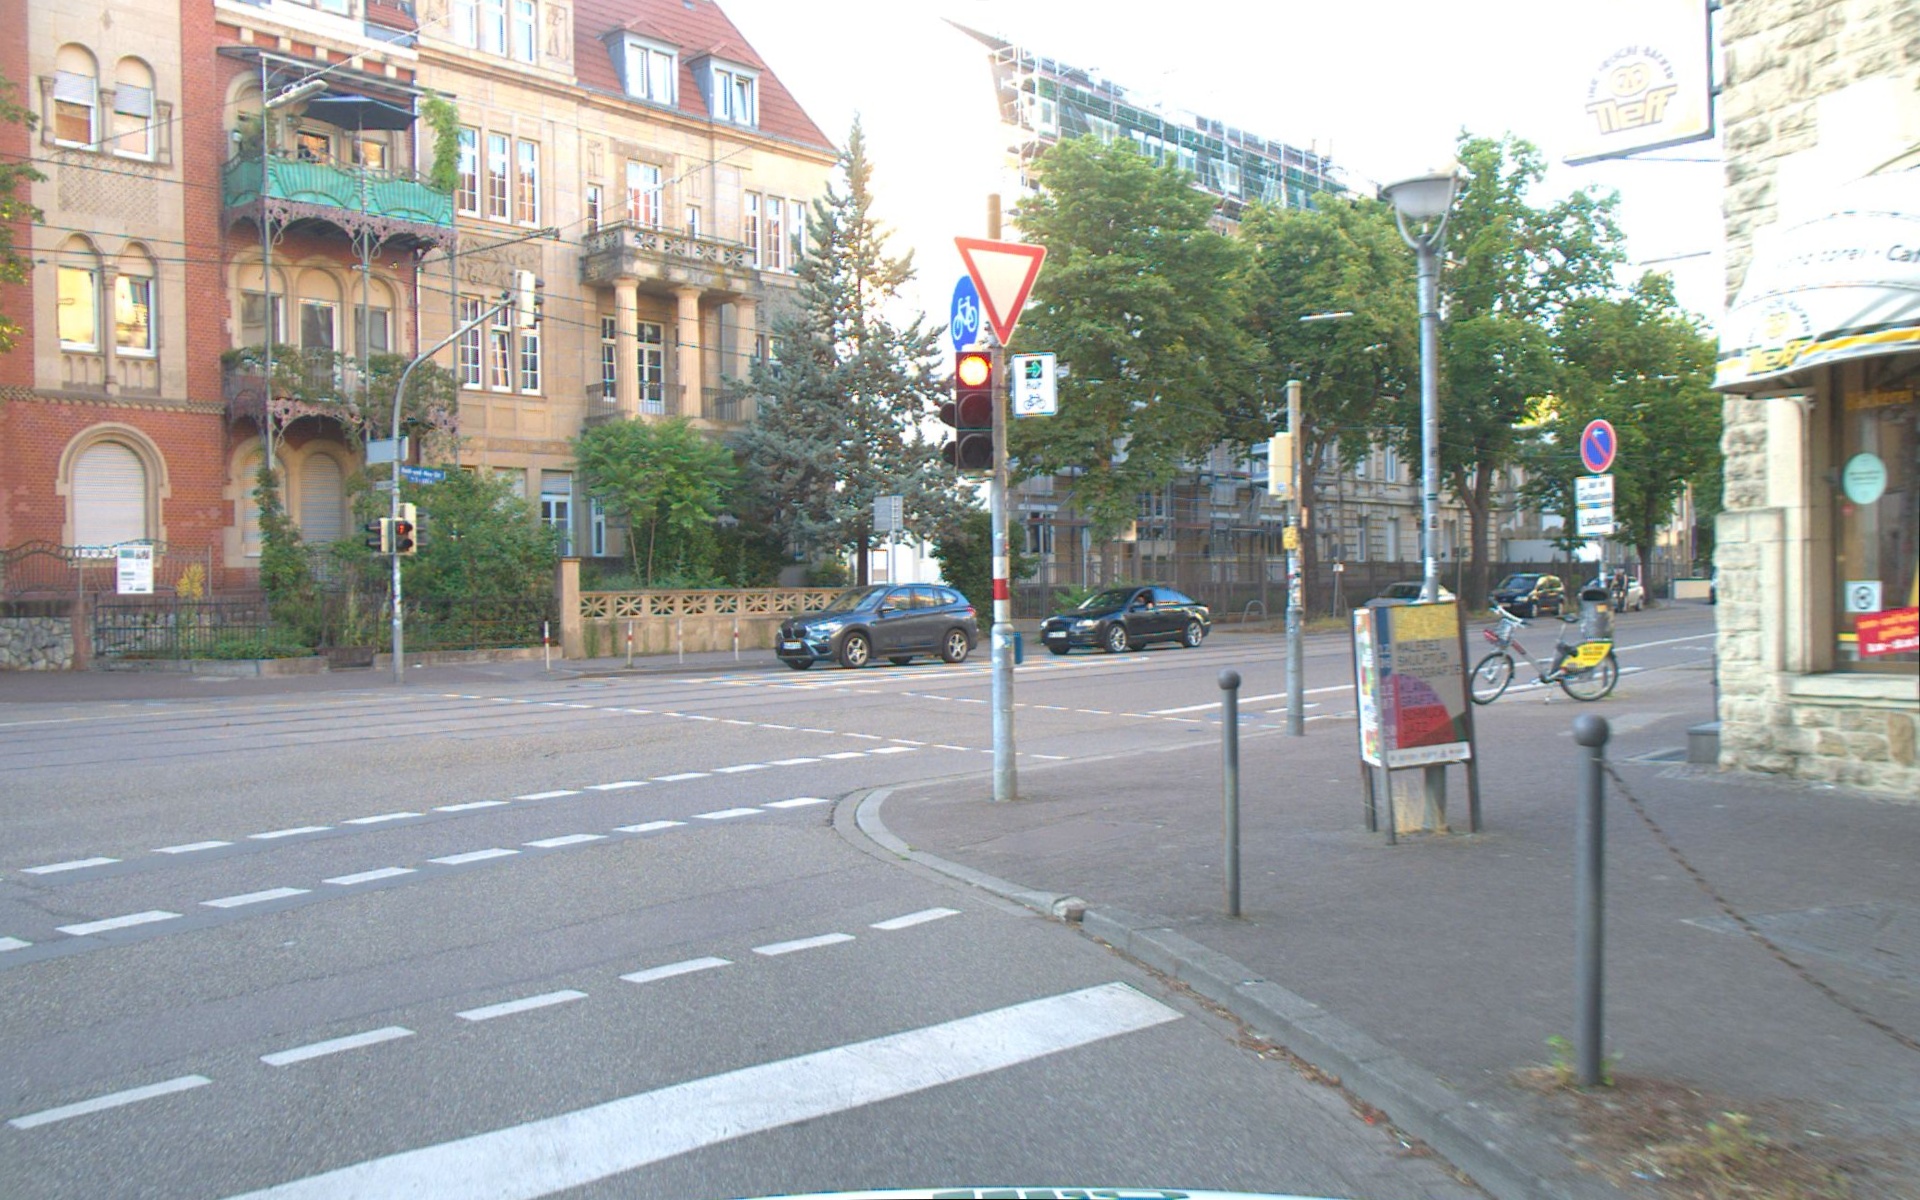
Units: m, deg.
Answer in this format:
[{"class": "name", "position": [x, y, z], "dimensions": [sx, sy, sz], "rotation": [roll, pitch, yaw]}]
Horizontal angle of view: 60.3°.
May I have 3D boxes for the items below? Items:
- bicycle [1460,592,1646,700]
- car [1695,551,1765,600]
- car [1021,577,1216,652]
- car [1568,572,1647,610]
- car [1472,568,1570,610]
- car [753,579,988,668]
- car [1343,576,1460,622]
[{"class": "bicycle", "position": [6.648, 0.509, 18.619], "dimensions": [1.832, 1.150, 0.732], "rotation": [-1, 0, 6]}, {"class": "car", "position": [39.017, -1.249, 83.716], "dimensions": [1.916, 2.356, 4.603], "rotation": [-1, 1, 43]}, {"class": "car", "position": [3.631, 0.298, 37.345], "dimensions": [1.918, 1.536, 4.599], "rotation": [-1, 1, 45]}, {"class": "car", "position": [27.353, -0.394, 69.788], "dimensions": [1.913, 1.508, 4.300], "rotation": [-1, 1, 38]}, {"class": "car", "position": [21.364, -0.434, 62.933], "dimensions": [1.918, 1.508, 4.139], "rotation": [-1, 1, 45]}, {"class": "car", "position": [-1.668, 0.411, 31.950], "dimensions": [1.918, 1.536, 4.388], "rotation": [-1, 1, 45]}, {"class": "car", "position": [14.742, -0.051, 55.109], "dimensions": [1.974, 1.451, 4.607], "rotation": [-1, 1, 41]}]
